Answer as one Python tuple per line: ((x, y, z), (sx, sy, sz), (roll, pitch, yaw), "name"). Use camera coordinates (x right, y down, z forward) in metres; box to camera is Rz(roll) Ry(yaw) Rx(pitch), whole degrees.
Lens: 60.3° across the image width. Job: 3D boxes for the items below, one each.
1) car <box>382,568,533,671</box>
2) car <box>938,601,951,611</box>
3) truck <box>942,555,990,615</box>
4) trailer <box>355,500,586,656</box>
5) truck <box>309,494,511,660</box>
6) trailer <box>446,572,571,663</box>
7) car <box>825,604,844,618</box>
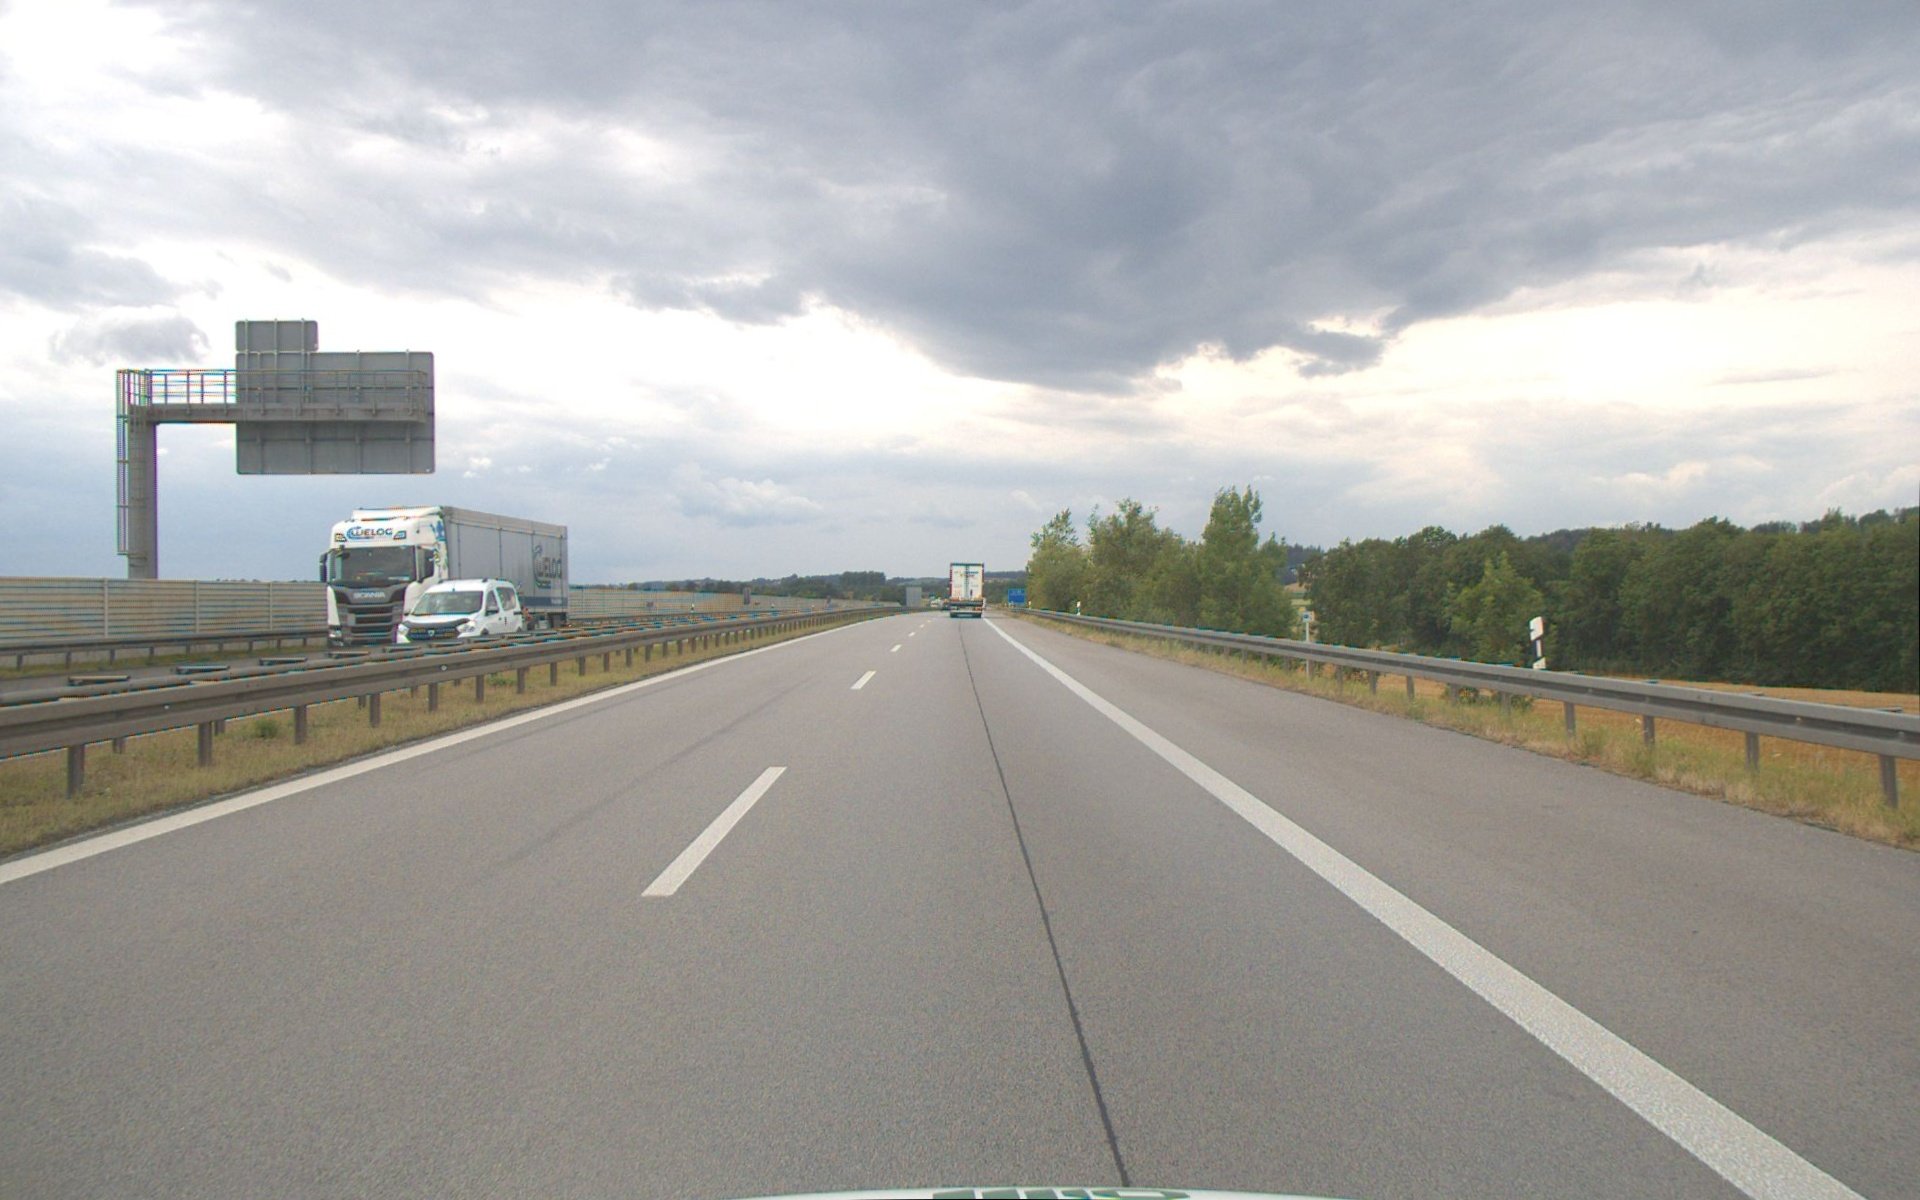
((-10.453, 0.387, 34.717), (1.778, 1.879, 4.180), (5, 0, -1), "car")
((-2.421, 0.873, 258.606), (1.954, 1.445, 3.998), (1, 1, -3), "car")
((0.404, -1.097, 131.717), (3.597, 4.489, 16.339), (0, 0, 0), "truck")
((-14.906, -0.617, 51.998), (3.114, 4.147, 14.021), (-2, 0, -1), "trailer")
((-14.857, -0.584, 45.345), (3.046, 4.084, 7.323), (-2, 0, -1), "truck")
((-10.499, 0.394, 38.751), (1.778, 1.879, 3.862), (5, 0, -1), "trailer")
((-14.031, 1.203, 185.437), (1.780, 1.428, 4.876), (-1, 0, 0), "car")
